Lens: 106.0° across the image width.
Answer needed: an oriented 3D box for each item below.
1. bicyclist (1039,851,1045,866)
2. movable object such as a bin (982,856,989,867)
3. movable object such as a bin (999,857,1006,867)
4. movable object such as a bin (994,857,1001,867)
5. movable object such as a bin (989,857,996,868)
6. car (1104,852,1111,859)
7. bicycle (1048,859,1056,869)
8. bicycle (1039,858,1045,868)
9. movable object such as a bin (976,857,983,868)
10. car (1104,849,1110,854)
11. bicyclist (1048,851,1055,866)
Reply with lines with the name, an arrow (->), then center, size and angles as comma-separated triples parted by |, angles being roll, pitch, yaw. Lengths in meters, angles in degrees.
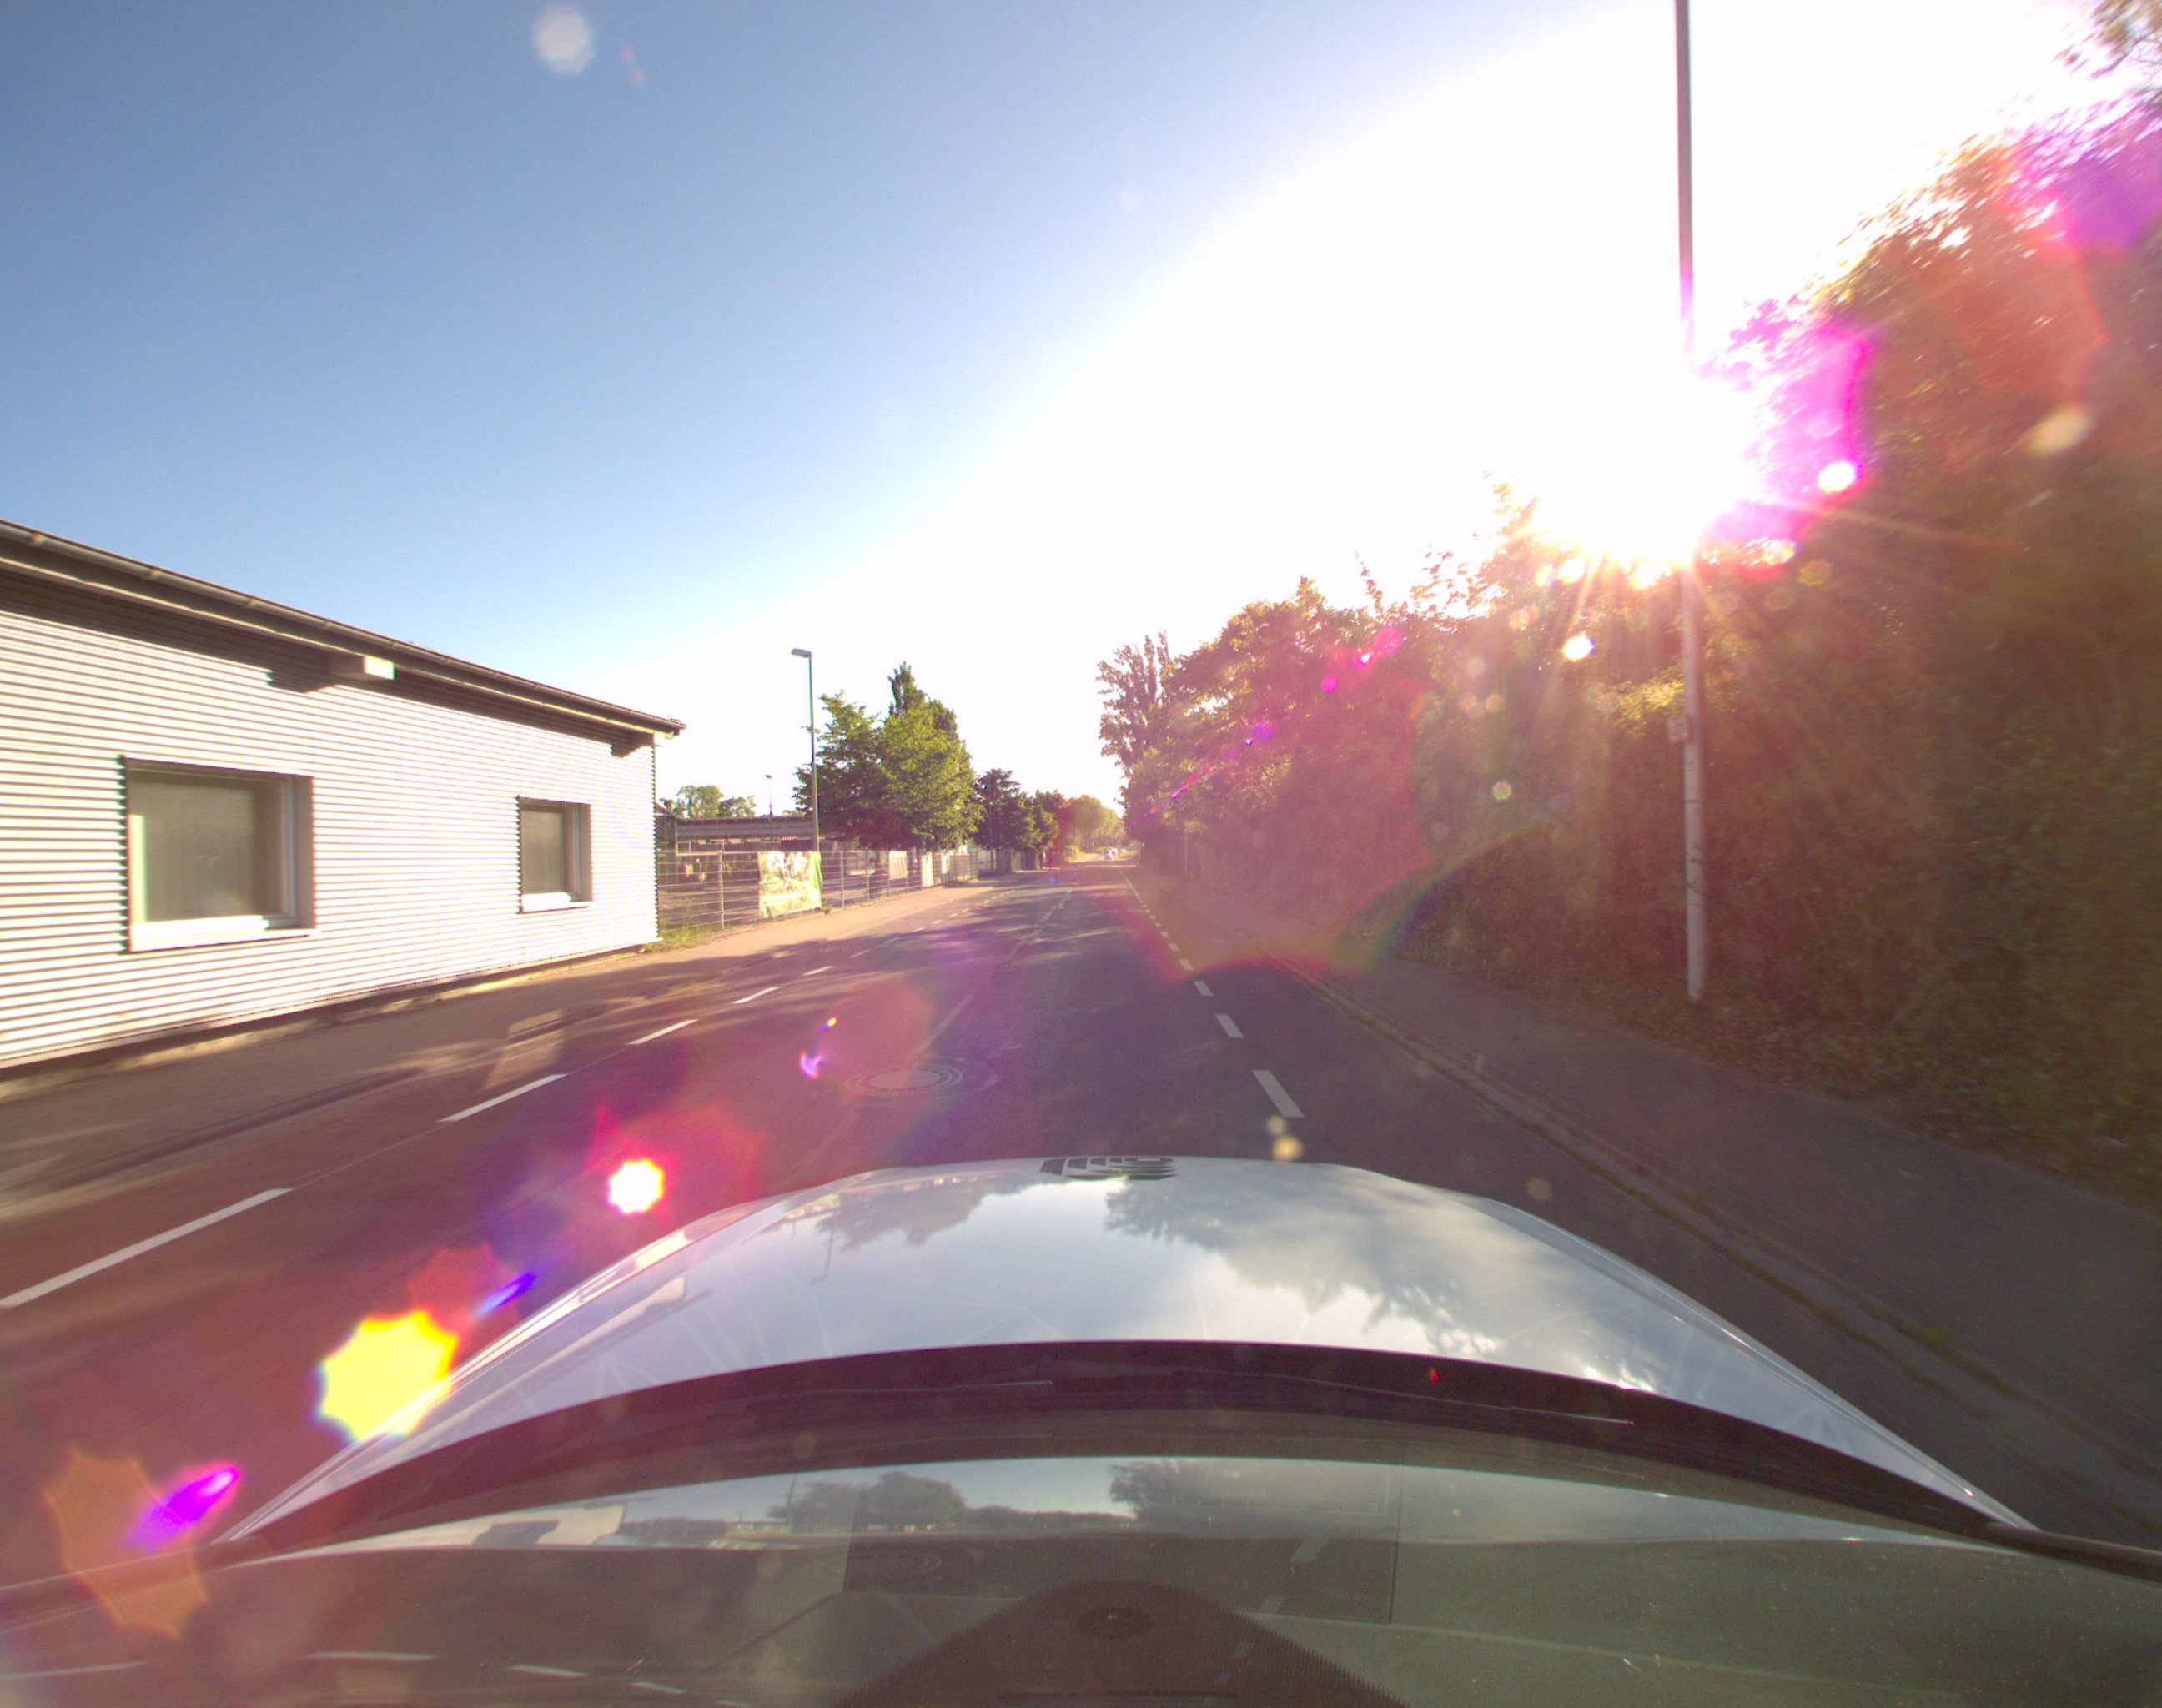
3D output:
bicyclist -> -4.174, 0.467, 86.829 | 0.558, 1.534, 0.689 | 1, 0, 1
movable object such as a bin -> -9.947, 0.781, 84.606 | 0.461, 1.076, 1.570 | -1, 0, 2
movable object such as a bin -> -8.158, 0.820, 84.532 | 0.461, 1.076, 1.570 | -1, 0, 2
movable object such as a bin -> -8.664, 0.835, 84.721 | 0.461, 1.076, 1.570 | -1, 0, 2
movable object such as a bin -> -9.208, 0.848, 84.668 | 0.461, 1.076, 1.570 | -1, 0, 2
car -> 6.787, 0.456, 208.760 | 1.935, 1.651, 4.311 | 1, 0, 2
bicycle -> -3.089, 1.043, 86.533 | 0.686, 1.034, 1.351 | 1, 0, 2
bicycle -> -4.173, 0.976, 86.908 | 0.560, 1.034, 1.351 | 1, 0, 2
movable object such as a bin -> -10.519, 0.879, 84.555 | 0.461, 1.076, 1.570 | -1, 0, 2
car -> 8.338, -0.763, 258.562 | 1.935, 1.651, 4.311 | 1, 0, 2
bicyclist -> -3.093, 0.486, 86.408 | 0.687, 1.532, 0.723 | 1, 0, 1
